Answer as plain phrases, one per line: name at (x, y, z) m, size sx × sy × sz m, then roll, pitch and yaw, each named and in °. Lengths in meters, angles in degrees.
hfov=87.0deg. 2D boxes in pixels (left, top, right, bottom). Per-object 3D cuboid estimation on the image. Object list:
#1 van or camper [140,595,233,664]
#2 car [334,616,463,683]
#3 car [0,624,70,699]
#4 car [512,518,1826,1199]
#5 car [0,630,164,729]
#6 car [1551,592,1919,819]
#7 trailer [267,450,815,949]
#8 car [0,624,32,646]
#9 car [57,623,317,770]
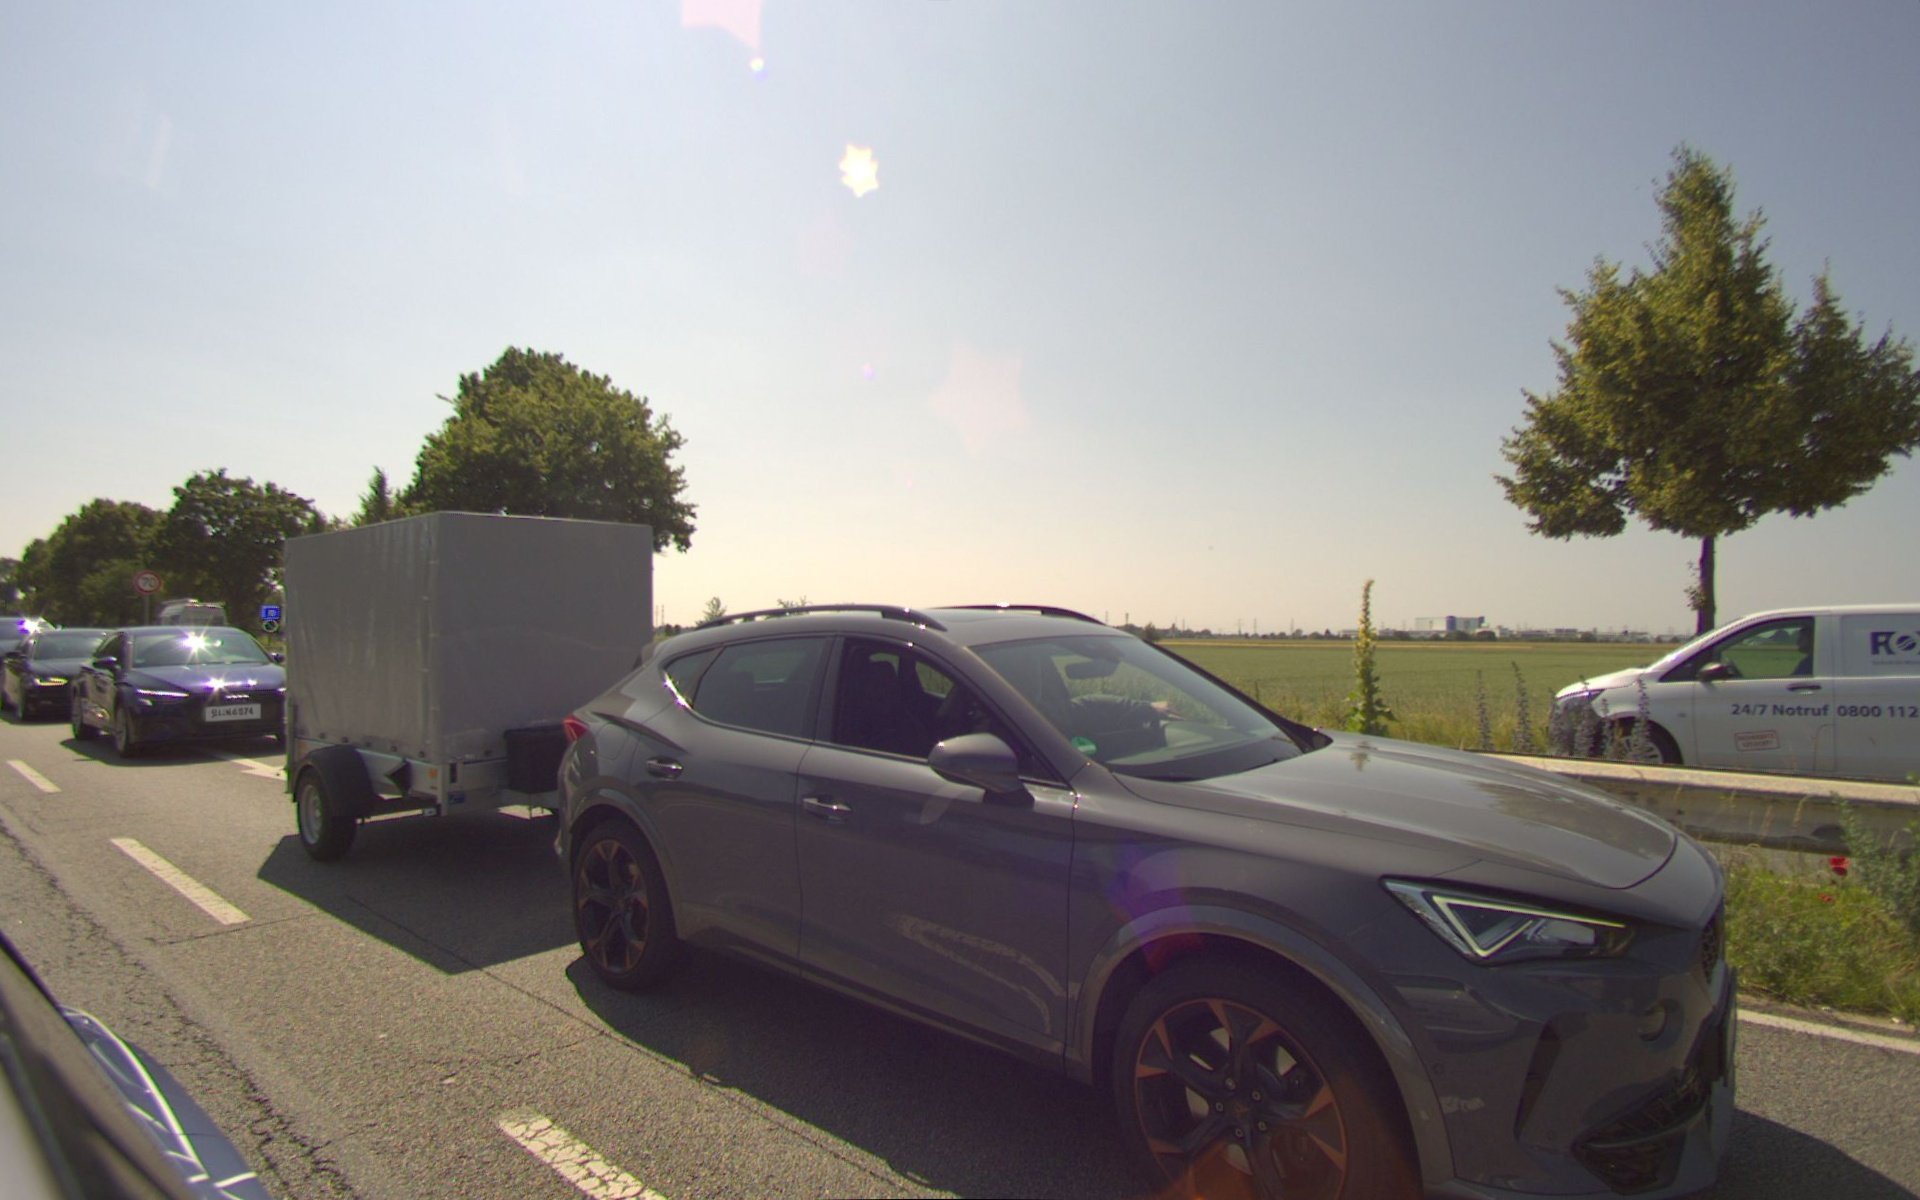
van or camper at (-36.822, 1.413, 48.121) m, size 5.690 × 3.123 × 2.240 m, roll -2°, pitch -3°, yaw 40°
car at (-17.059, 1.472, 30.677) m, size 4.693 × 1.870 × 1.838 m, roll -2°, pitch -3°, yaw 40°
car at (-21.065, 1.297, 22.205) m, size 4.099 × 1.527 × 1.836 m, roll -1°, pitch -1°, yaw 42°
car at (0.244, 0.683, 3.663) m, size 4.360 × 1.514 × 1.727 m, roll -2°, pitch -1°, yaw 41°
car at (-14.719, 1.202, 16.704) m, size 4.453 × 1.391 × 1.722 m, roll -1°, pitch -1°, yaw 41°
car at (8.671, 0.940, 9.618) m, size 5.011 × 1.946 × 1.973 m, roll -2°, pitch -3°, yaw 40°
trailer at (-2.862, 0.484, 6.386) m, size 4.172 × 2.190 × 1.485 m, roll -2°, pitch -2°, yaw 41°
car at (-87.273, 3.192, 93.259) m, size 4.827 × 1.966 × 1.973 m, roll -1°, pitch -4°, yaw 41°
car at (-9.499, 1.044, 12.331) m, size 4.027 × 1.476 × 1.700 m, roll -2°, pitch -1°, yaw 40°
